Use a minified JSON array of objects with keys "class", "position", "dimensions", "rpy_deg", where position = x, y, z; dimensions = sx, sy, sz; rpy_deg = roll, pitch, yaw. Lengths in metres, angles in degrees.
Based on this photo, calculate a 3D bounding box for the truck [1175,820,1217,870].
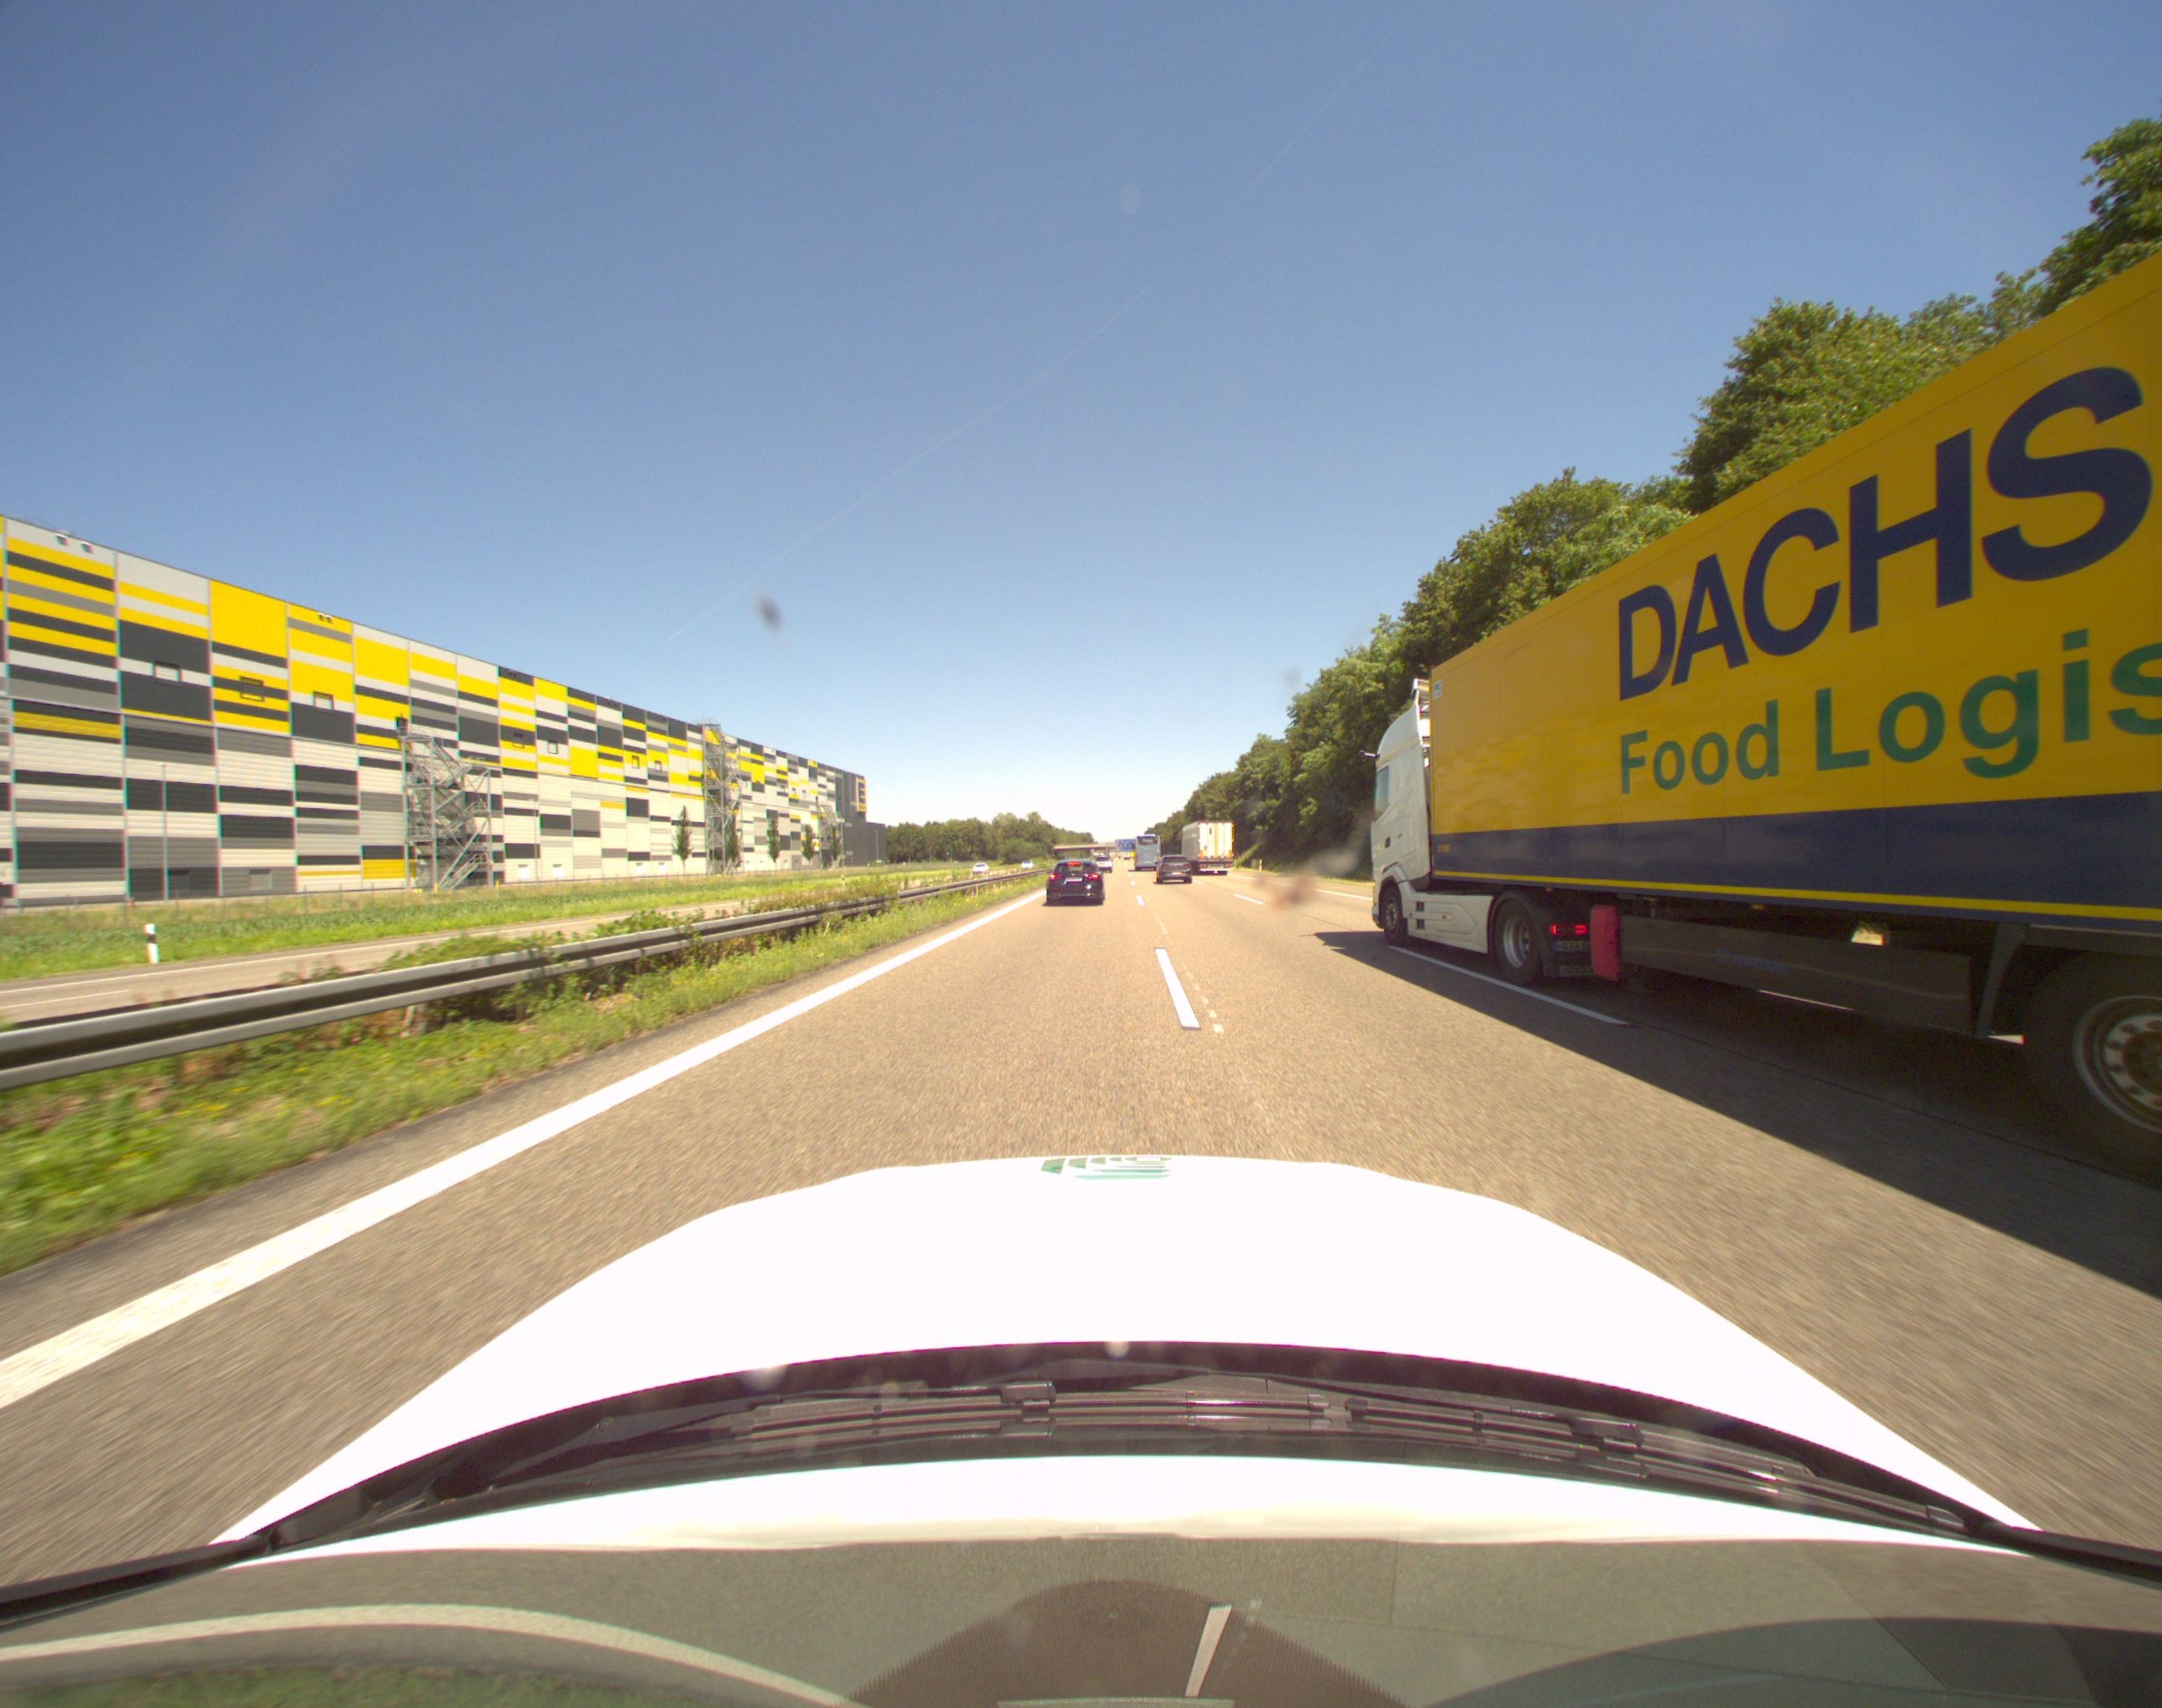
[{"class":"truck","position":[10.106,-0.732,72.062],"dimensions":[3.036,4.215,6.051],"rpy_deg":[-1,0,2]}]

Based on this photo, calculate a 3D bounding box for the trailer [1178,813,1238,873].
[{"class":"trailer","position":[9.909,-0.770,65.340],"dimensions":[3.028,4.224,13.840],"rpy_deg":[-1,0,2]}]

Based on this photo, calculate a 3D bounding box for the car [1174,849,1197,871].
[{"class":"car","position":[10.380,0.578,80.945],"dimensions":[1.892,2.120,4.243],"rpy_deg":[-1,0,2]}]

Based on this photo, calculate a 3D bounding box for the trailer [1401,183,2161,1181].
[{"class":"trailer","position":[5.799,-0.704,4.884],"dimensions":[2.667,4.069,13.840],"rpy_deg":[-1,0,2]}]

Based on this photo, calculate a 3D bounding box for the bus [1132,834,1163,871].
[{"class":"bus","position":[6.801,-0.116,85.249],"dimensions":[2.791,3.596,12.483],"rpy_deg":[-1,0,3]}]

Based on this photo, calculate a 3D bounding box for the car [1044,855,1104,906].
[{"class":"car","position":[-0.149,0.790,26.544],"dimensions":[1.792,1.502,4.243],"rpy_deg":[-1,0,2]}]

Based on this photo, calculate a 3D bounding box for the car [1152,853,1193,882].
[{"class":"car","position":[4.986,0.709,44.892],"dimensions":[1.892,1.532,4.761],"rpy_deg":[-1,0,2]}]

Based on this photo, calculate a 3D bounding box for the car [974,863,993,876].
[{"class":"car","position":[-12.988,2.032,108.275],"dimensions":[1.792,1.532,4.634],"rpy_deg":[-2,0,2]}]

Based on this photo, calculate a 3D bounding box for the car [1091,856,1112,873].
[{"class":"car","position":[1.945,0.934,75.553],"dimensions":[1.892,1.532,4.243],"rpy_deg":[-1,0,2]}]

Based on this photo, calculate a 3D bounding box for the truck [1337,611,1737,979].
[{"class":"truck","position":[6.021,-0.651,12.093],"dimensions":[2.667,4.069,6.051],"rpy_deg":[-1,0,2]}]

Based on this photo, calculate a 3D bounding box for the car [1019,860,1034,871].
[{"class":"car","position":[-8.437,1.774,126.190],"dimensions":[1.792,1.532,4.486],"rpy_deg":[-2,0,3]}]
